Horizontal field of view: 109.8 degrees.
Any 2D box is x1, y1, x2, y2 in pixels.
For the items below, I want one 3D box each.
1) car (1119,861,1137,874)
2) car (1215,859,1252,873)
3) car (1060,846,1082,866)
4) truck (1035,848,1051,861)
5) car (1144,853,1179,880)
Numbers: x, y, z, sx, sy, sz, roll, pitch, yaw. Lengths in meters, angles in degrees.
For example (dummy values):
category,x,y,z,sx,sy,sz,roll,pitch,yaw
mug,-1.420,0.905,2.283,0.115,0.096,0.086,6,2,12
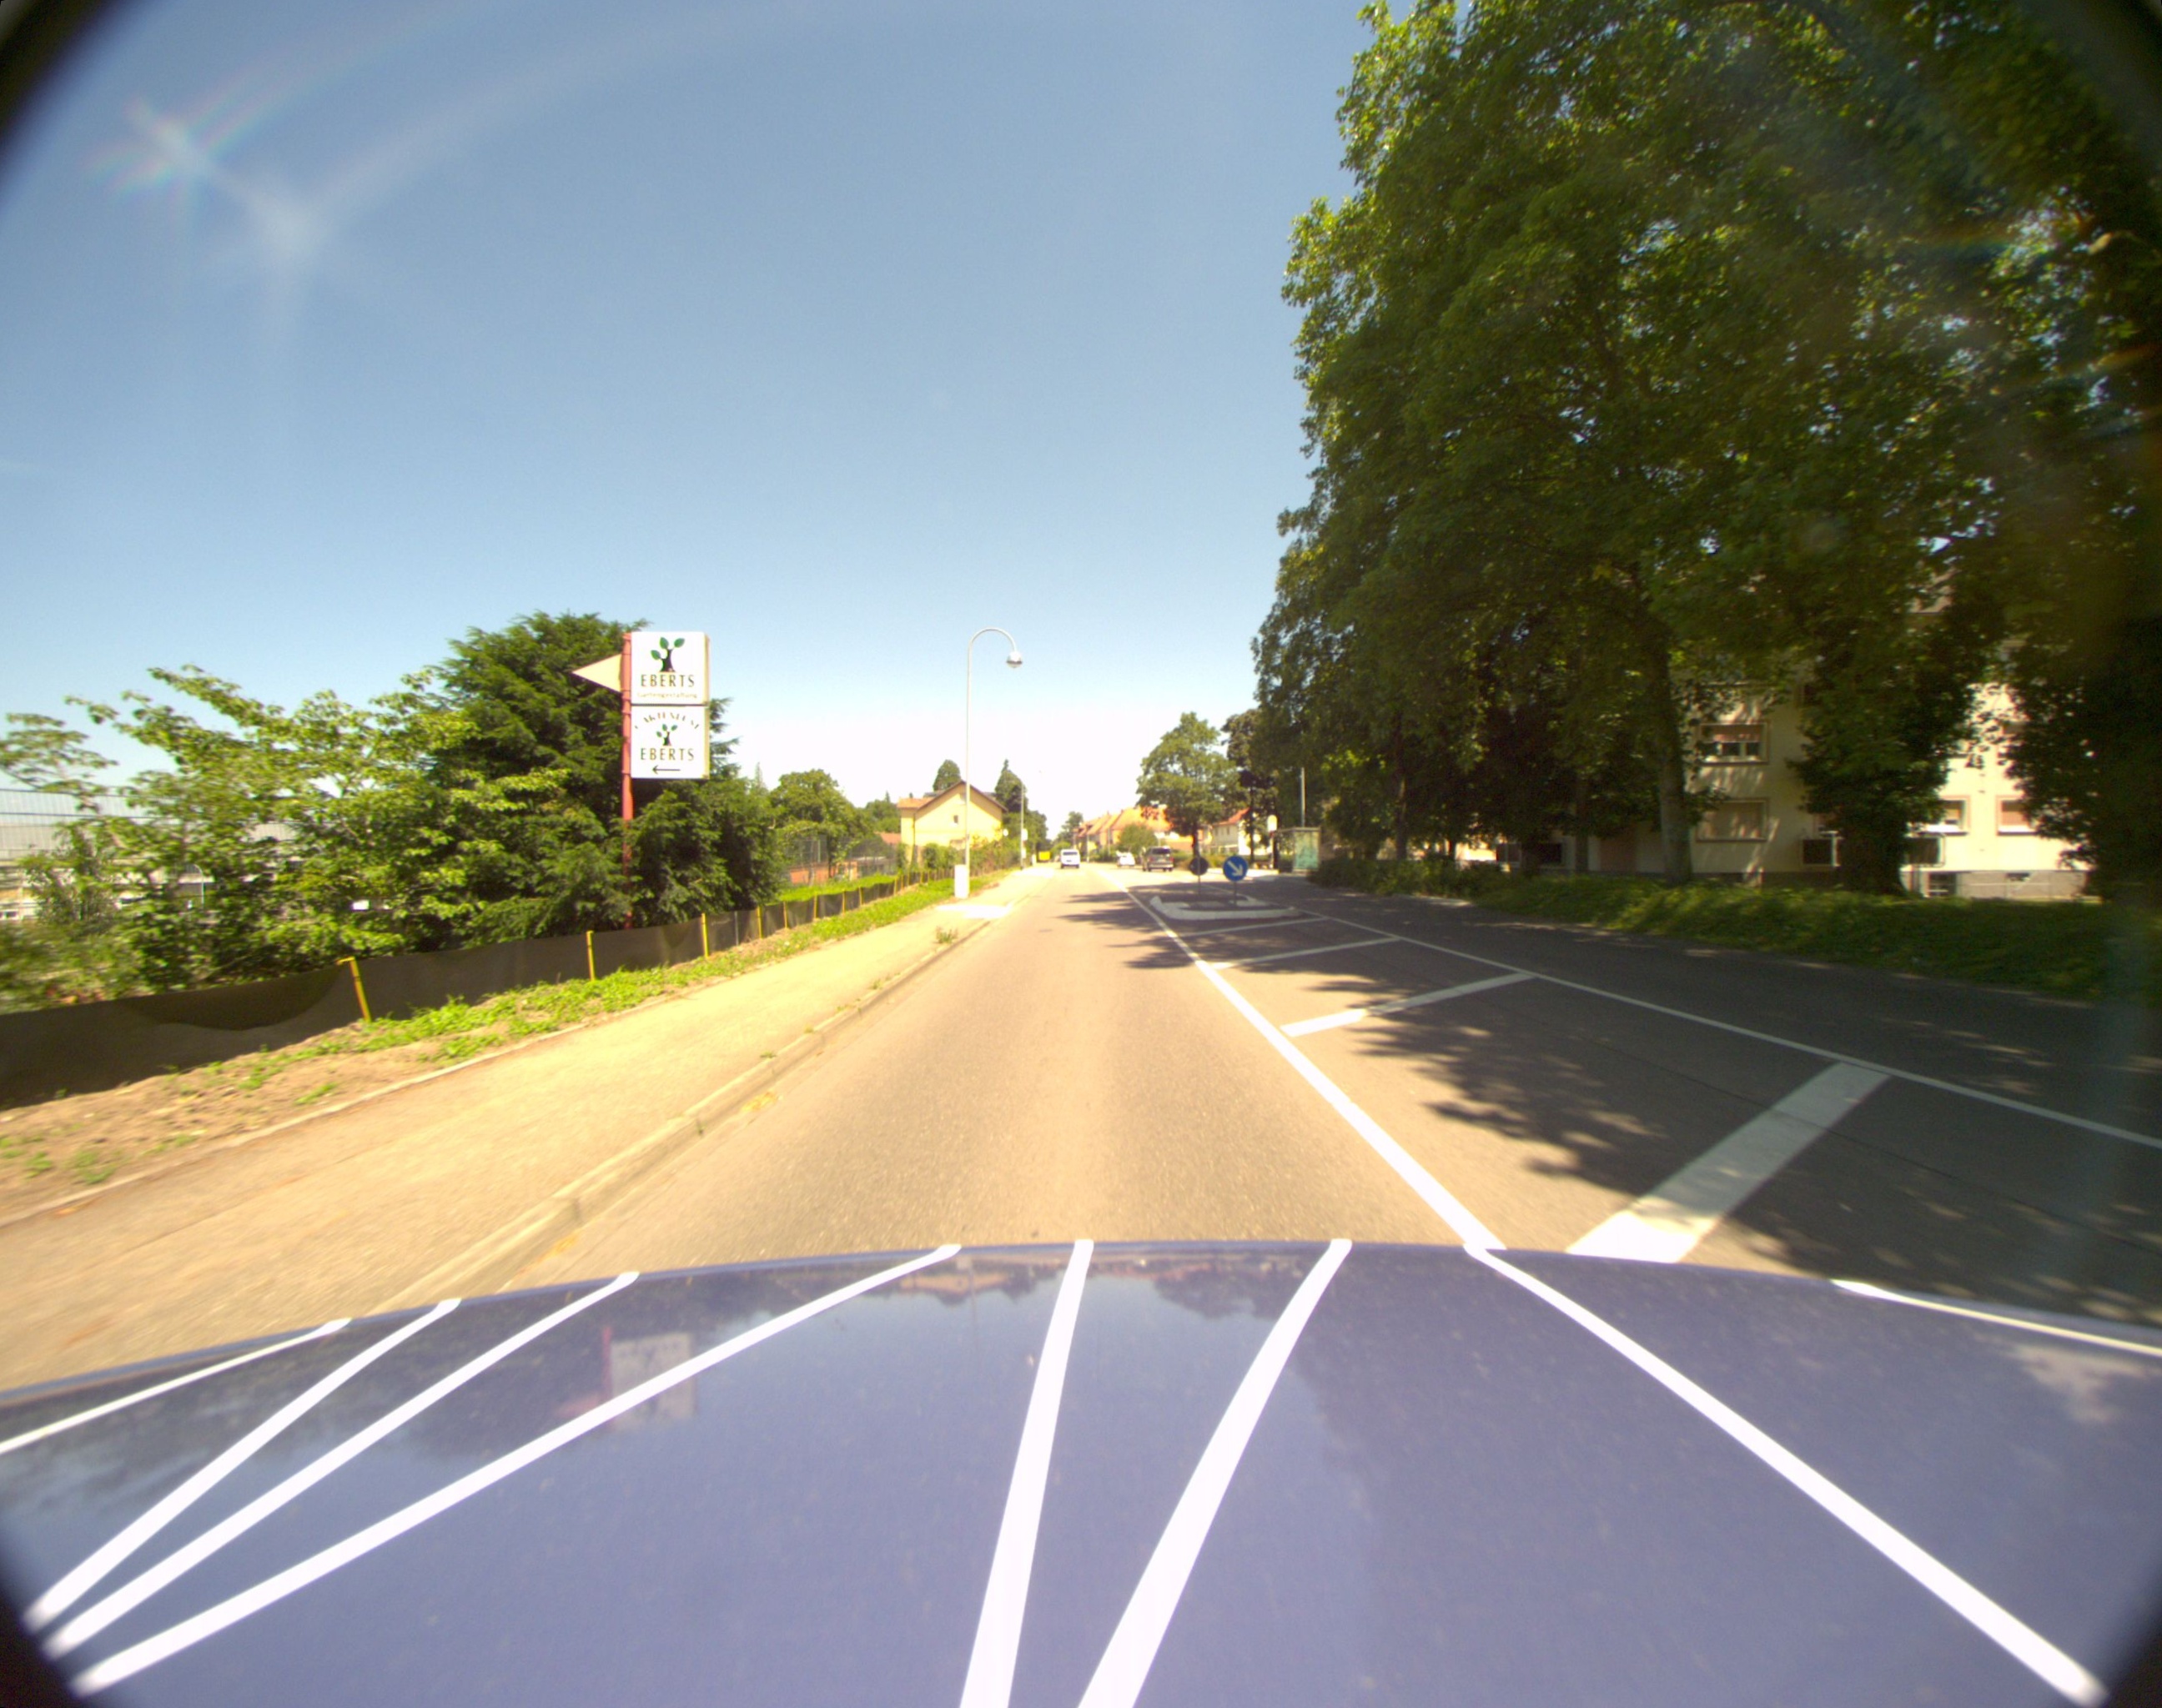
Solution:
category,x,y,z,sx,sy,sz,roll,pitch,yaw
car,5.293,1.517,85.878,1.695,1.451,3.639,-2,-1,-3
car,16.633,1.289,82.960,3.694,1.442,1.553,0,0,-21
car,-1.075,0.203,80.579,1.999,2.001,4.385,-2,-1,-5
truck,-7.451,0.119,148.950,2.020,2.295,6.171,-4,-1,-11
car,6.246,0.944,59.550,1.999,1.899,4.988,-2,1,-2
